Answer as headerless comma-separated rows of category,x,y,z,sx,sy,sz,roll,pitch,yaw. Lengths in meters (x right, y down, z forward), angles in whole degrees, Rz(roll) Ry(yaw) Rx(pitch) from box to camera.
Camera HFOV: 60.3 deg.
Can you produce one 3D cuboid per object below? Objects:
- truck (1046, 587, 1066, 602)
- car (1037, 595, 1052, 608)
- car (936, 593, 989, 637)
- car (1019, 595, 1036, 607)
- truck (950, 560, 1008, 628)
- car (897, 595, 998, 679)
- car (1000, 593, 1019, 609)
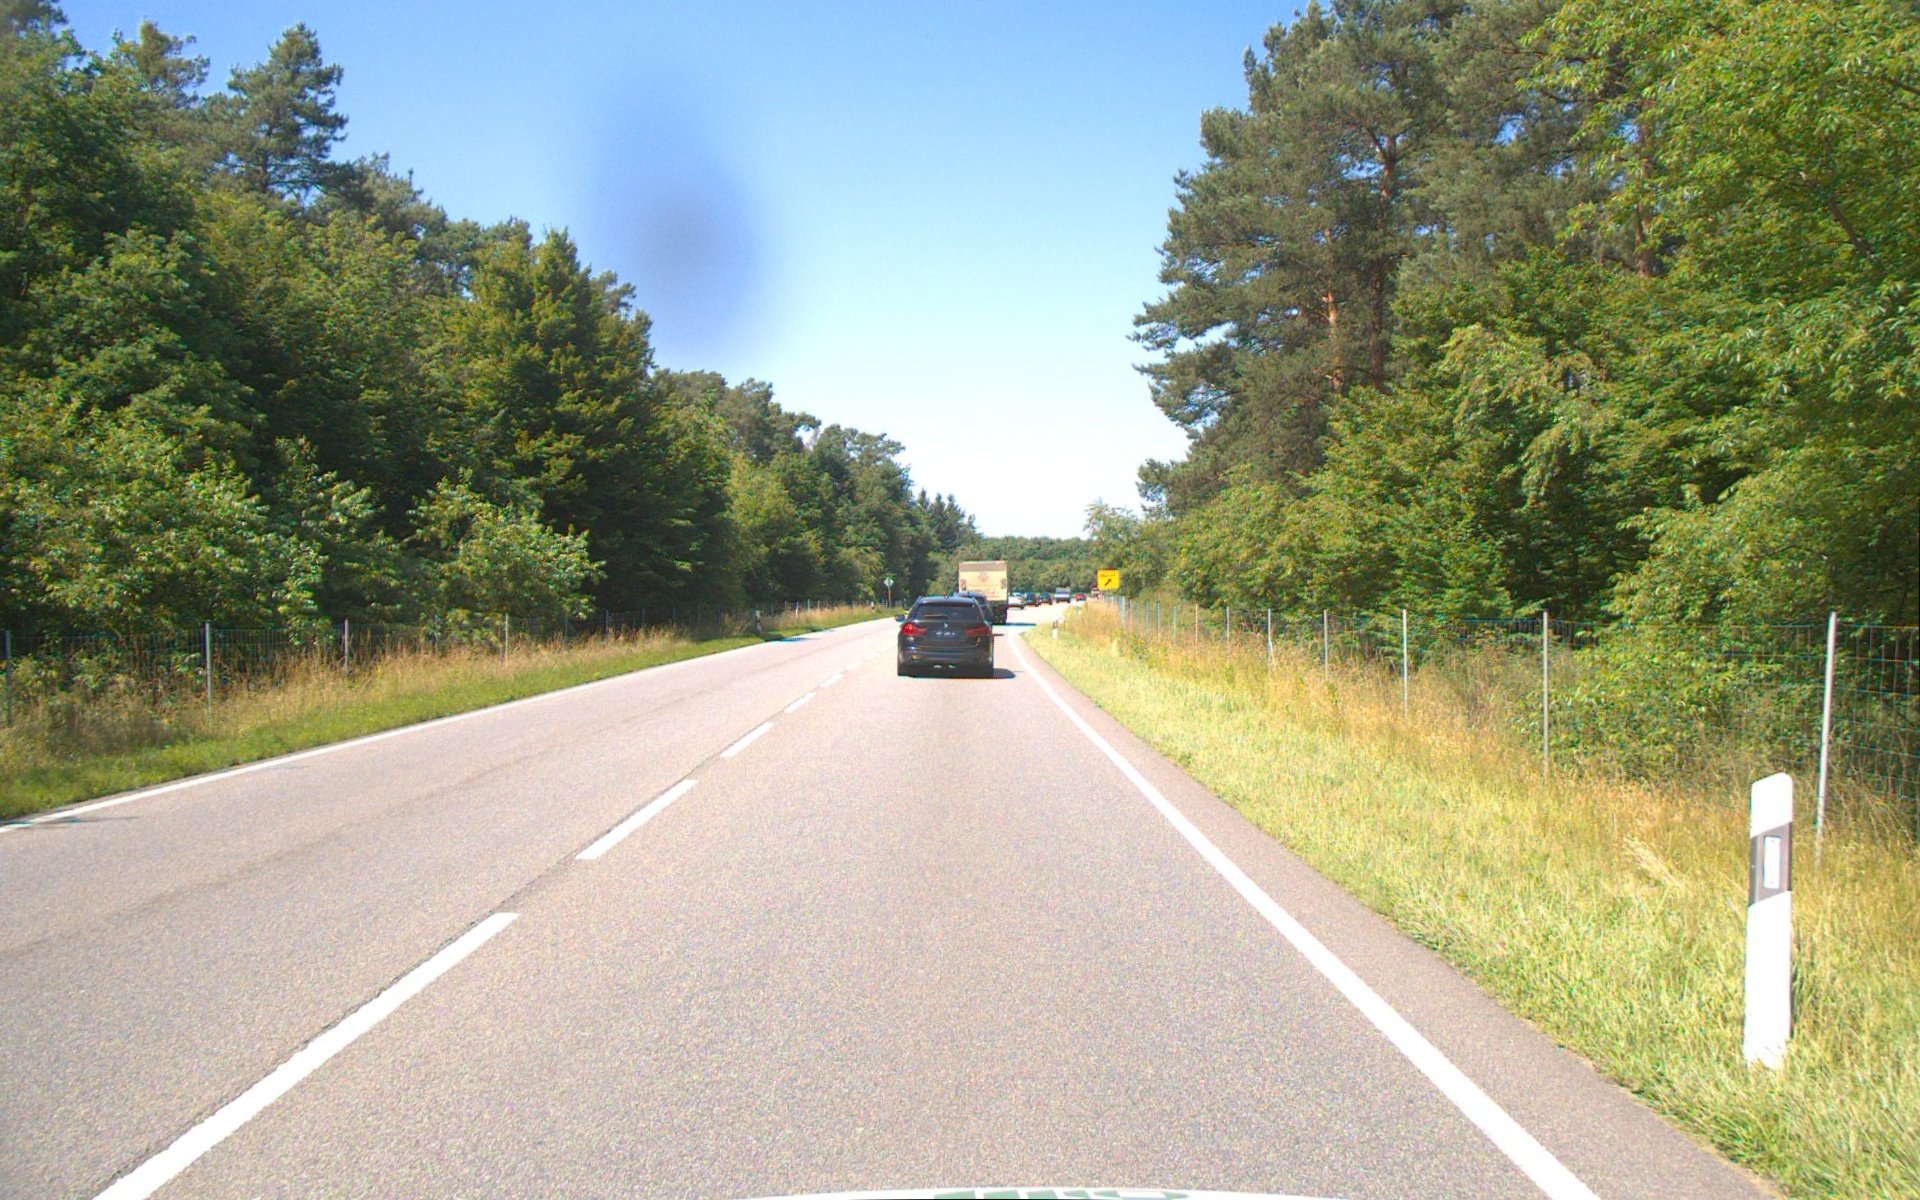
truck,14.601,-0.842,252.158,2.512,2.241,4.972,0,0,-2
car,11.376,0.197,222.439,1.952,1.665,4.001,-1,0,2
car,0.075,0.548,63.767,1.908,1.568,3.999,-1,0,-2
car,8.176,0.133,199.796,1.952,1.445,4.002,0,0,4
truck,1.017,-0.342,87.207,2.904,3.447,6.439,-1,0,1
car,-0.303,0.660,32.113,1.784,1.496,3.998,-1,0,-3
car,5.047,0.076,168.401,1.825,1.633,4.000,0,0,0
